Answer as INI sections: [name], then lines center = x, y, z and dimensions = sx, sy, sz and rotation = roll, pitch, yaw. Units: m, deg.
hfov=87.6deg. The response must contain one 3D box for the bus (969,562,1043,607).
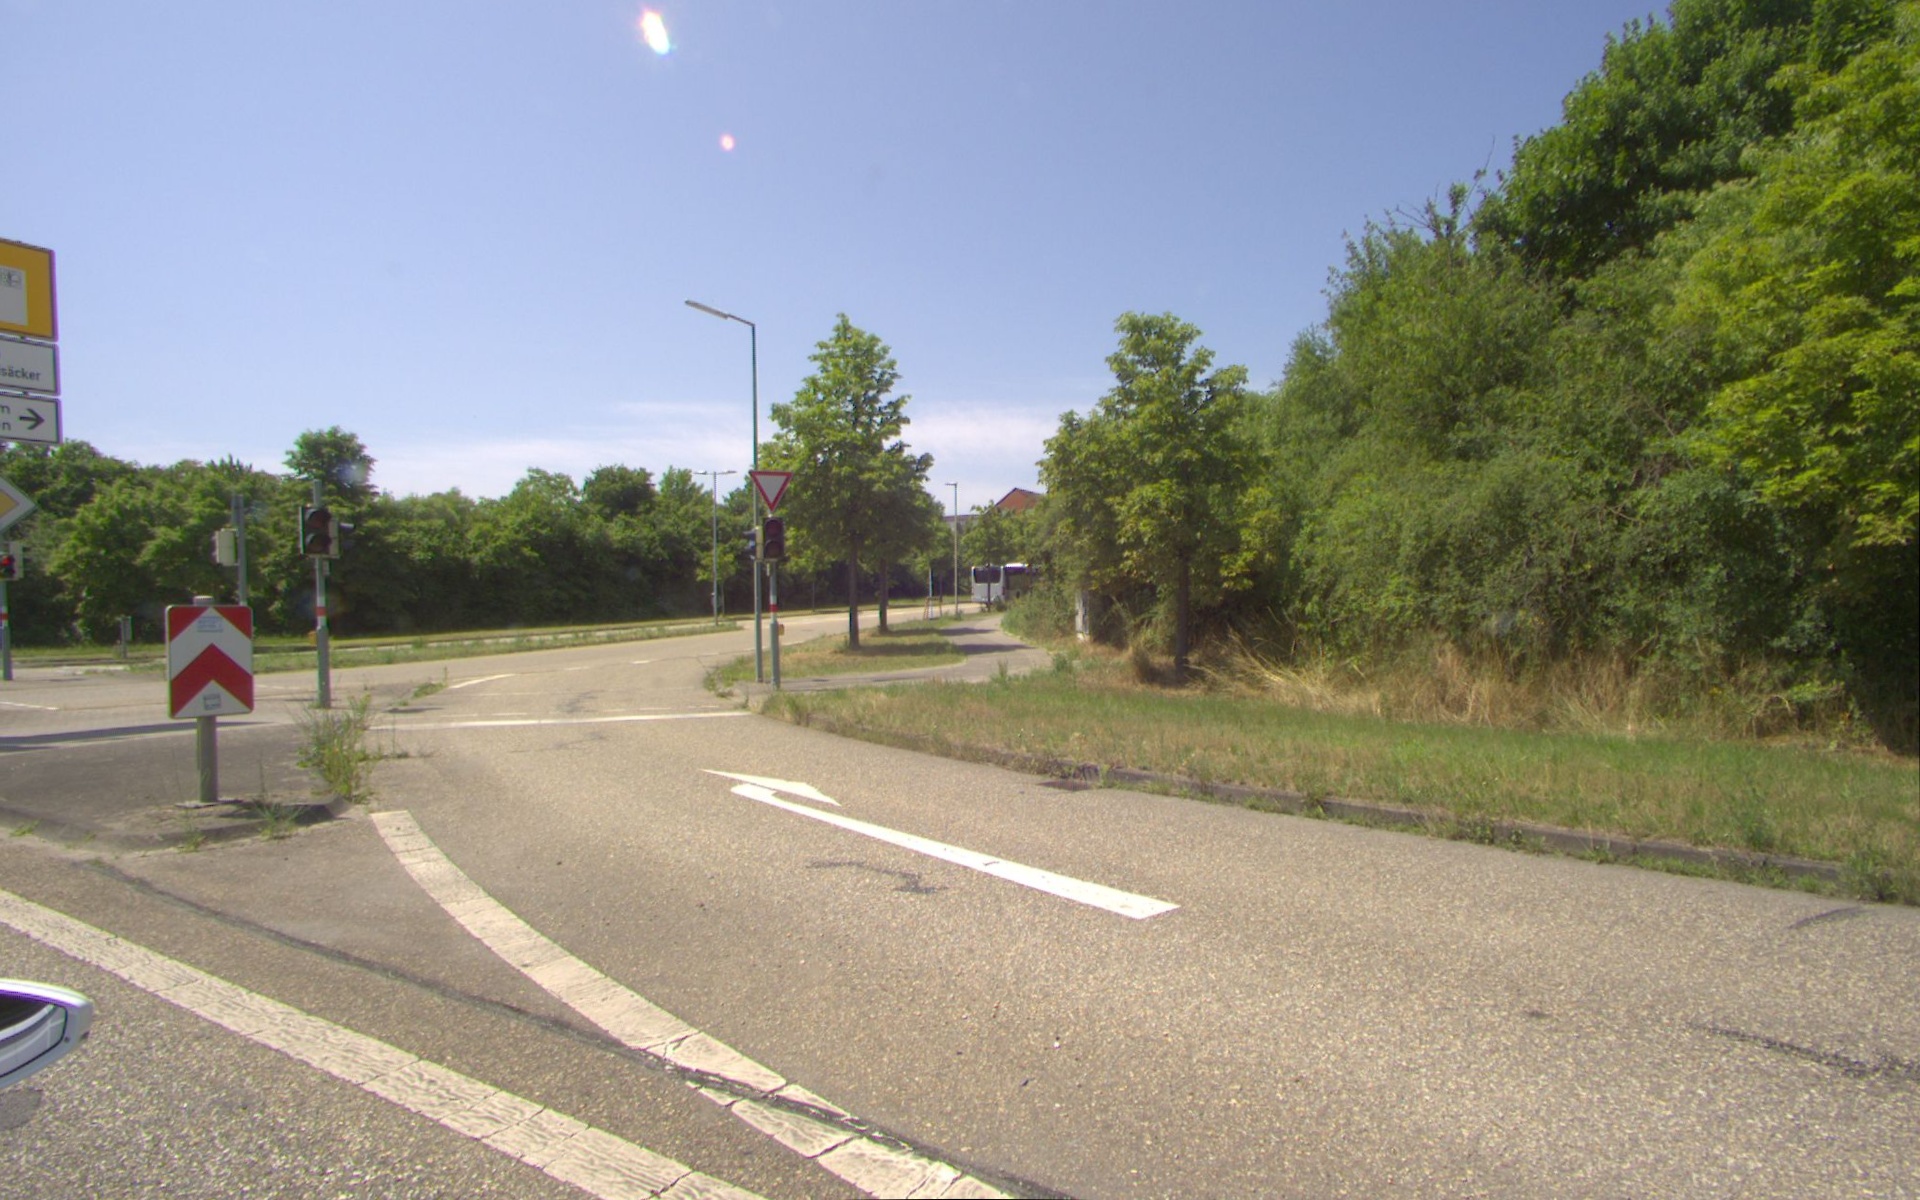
[bus]
center = 3.681, -1.045, 76.075
dimensions = 2.584, 3.127, 12.059
rotation = 0, 0, 18
